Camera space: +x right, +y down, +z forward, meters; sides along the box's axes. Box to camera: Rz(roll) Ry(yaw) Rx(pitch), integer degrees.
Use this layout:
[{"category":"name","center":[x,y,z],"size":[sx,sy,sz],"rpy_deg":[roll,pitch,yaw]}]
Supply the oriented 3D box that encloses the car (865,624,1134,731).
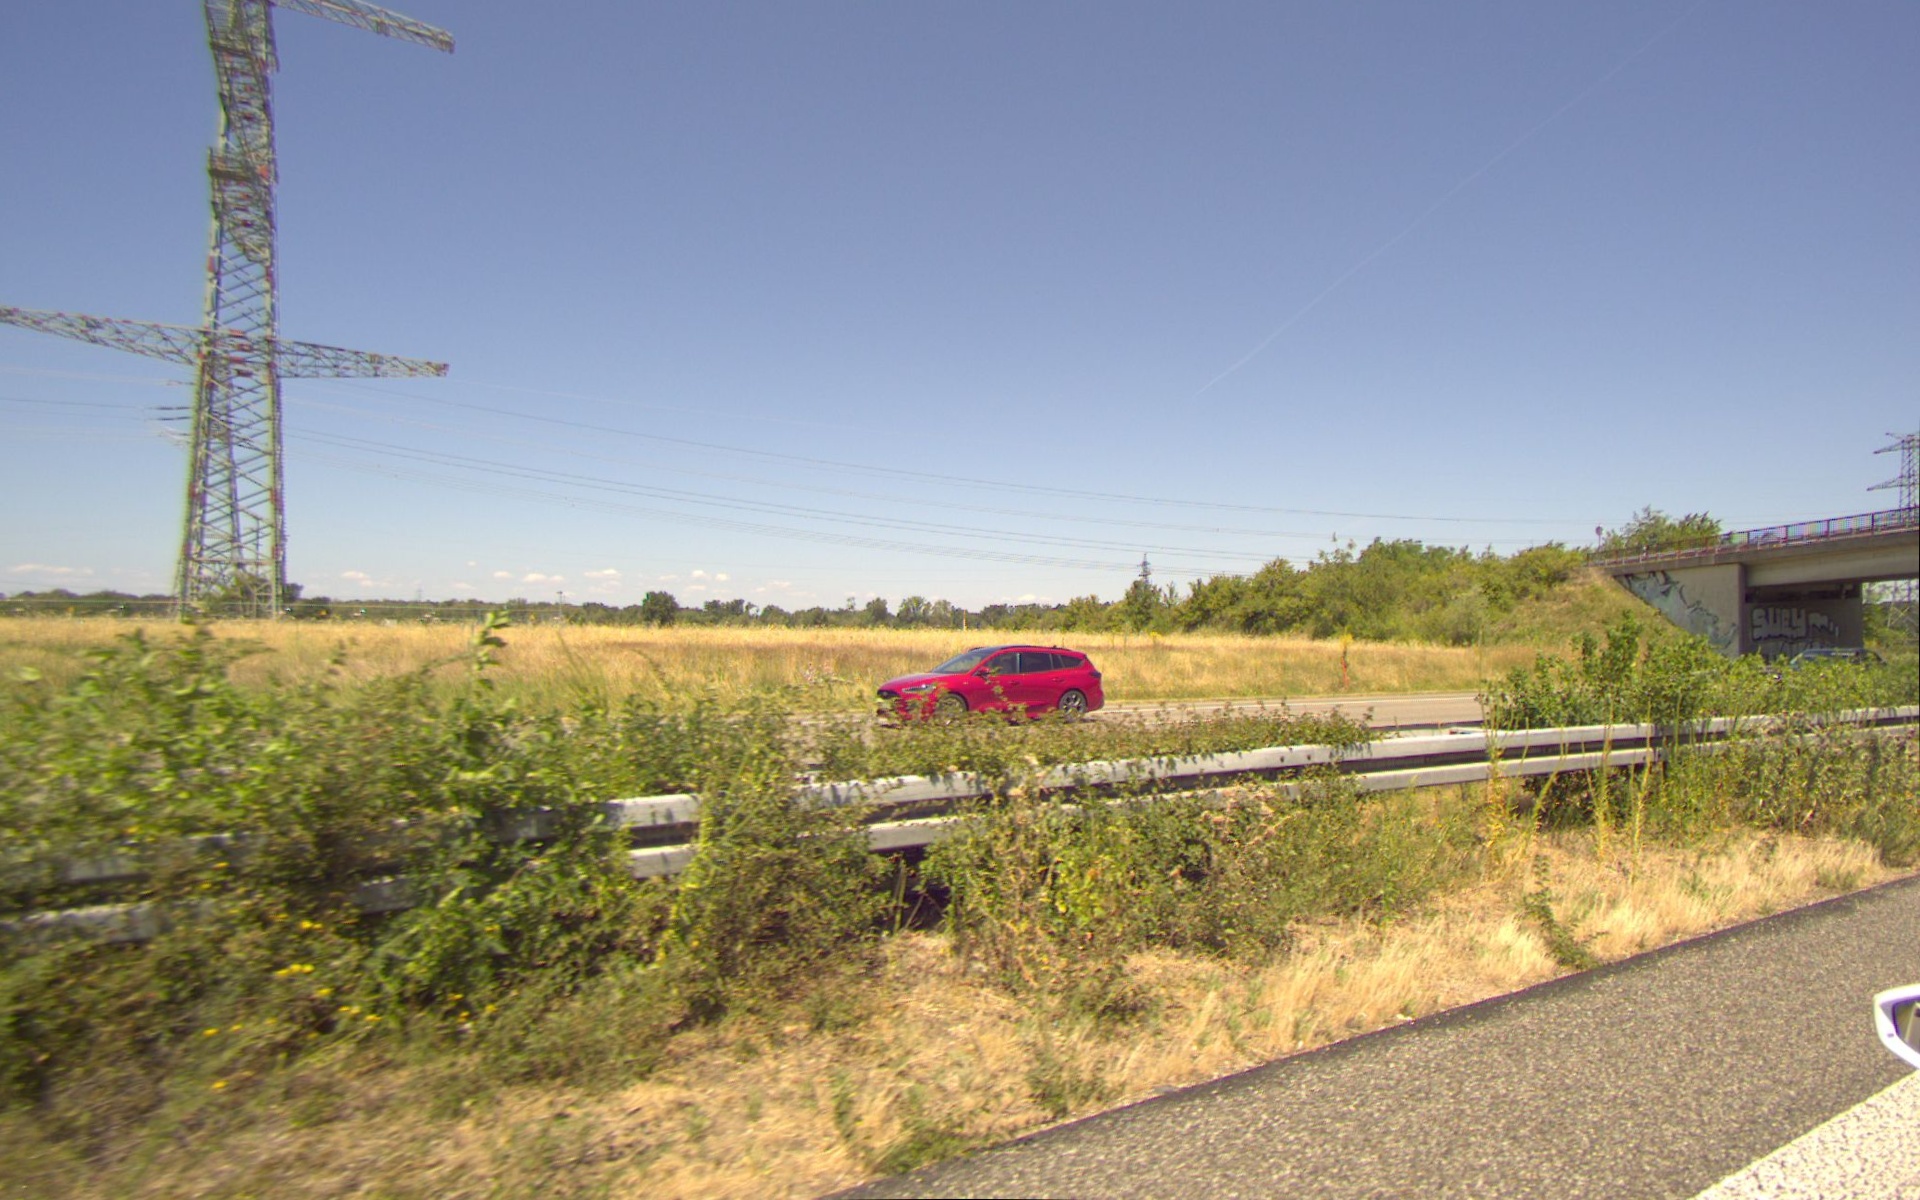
[{"category":"car","center":[0.816,1.427,19.289],"size":[4.921,1.803,1.909],"rpy_deg":[2,-2,-30]}]

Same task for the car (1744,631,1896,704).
[{"category":"car","center":[25.897,2.027,30.228],"size":[4.785,2.039,1.985],"rpy_deg":[2,-4,-30]}]
